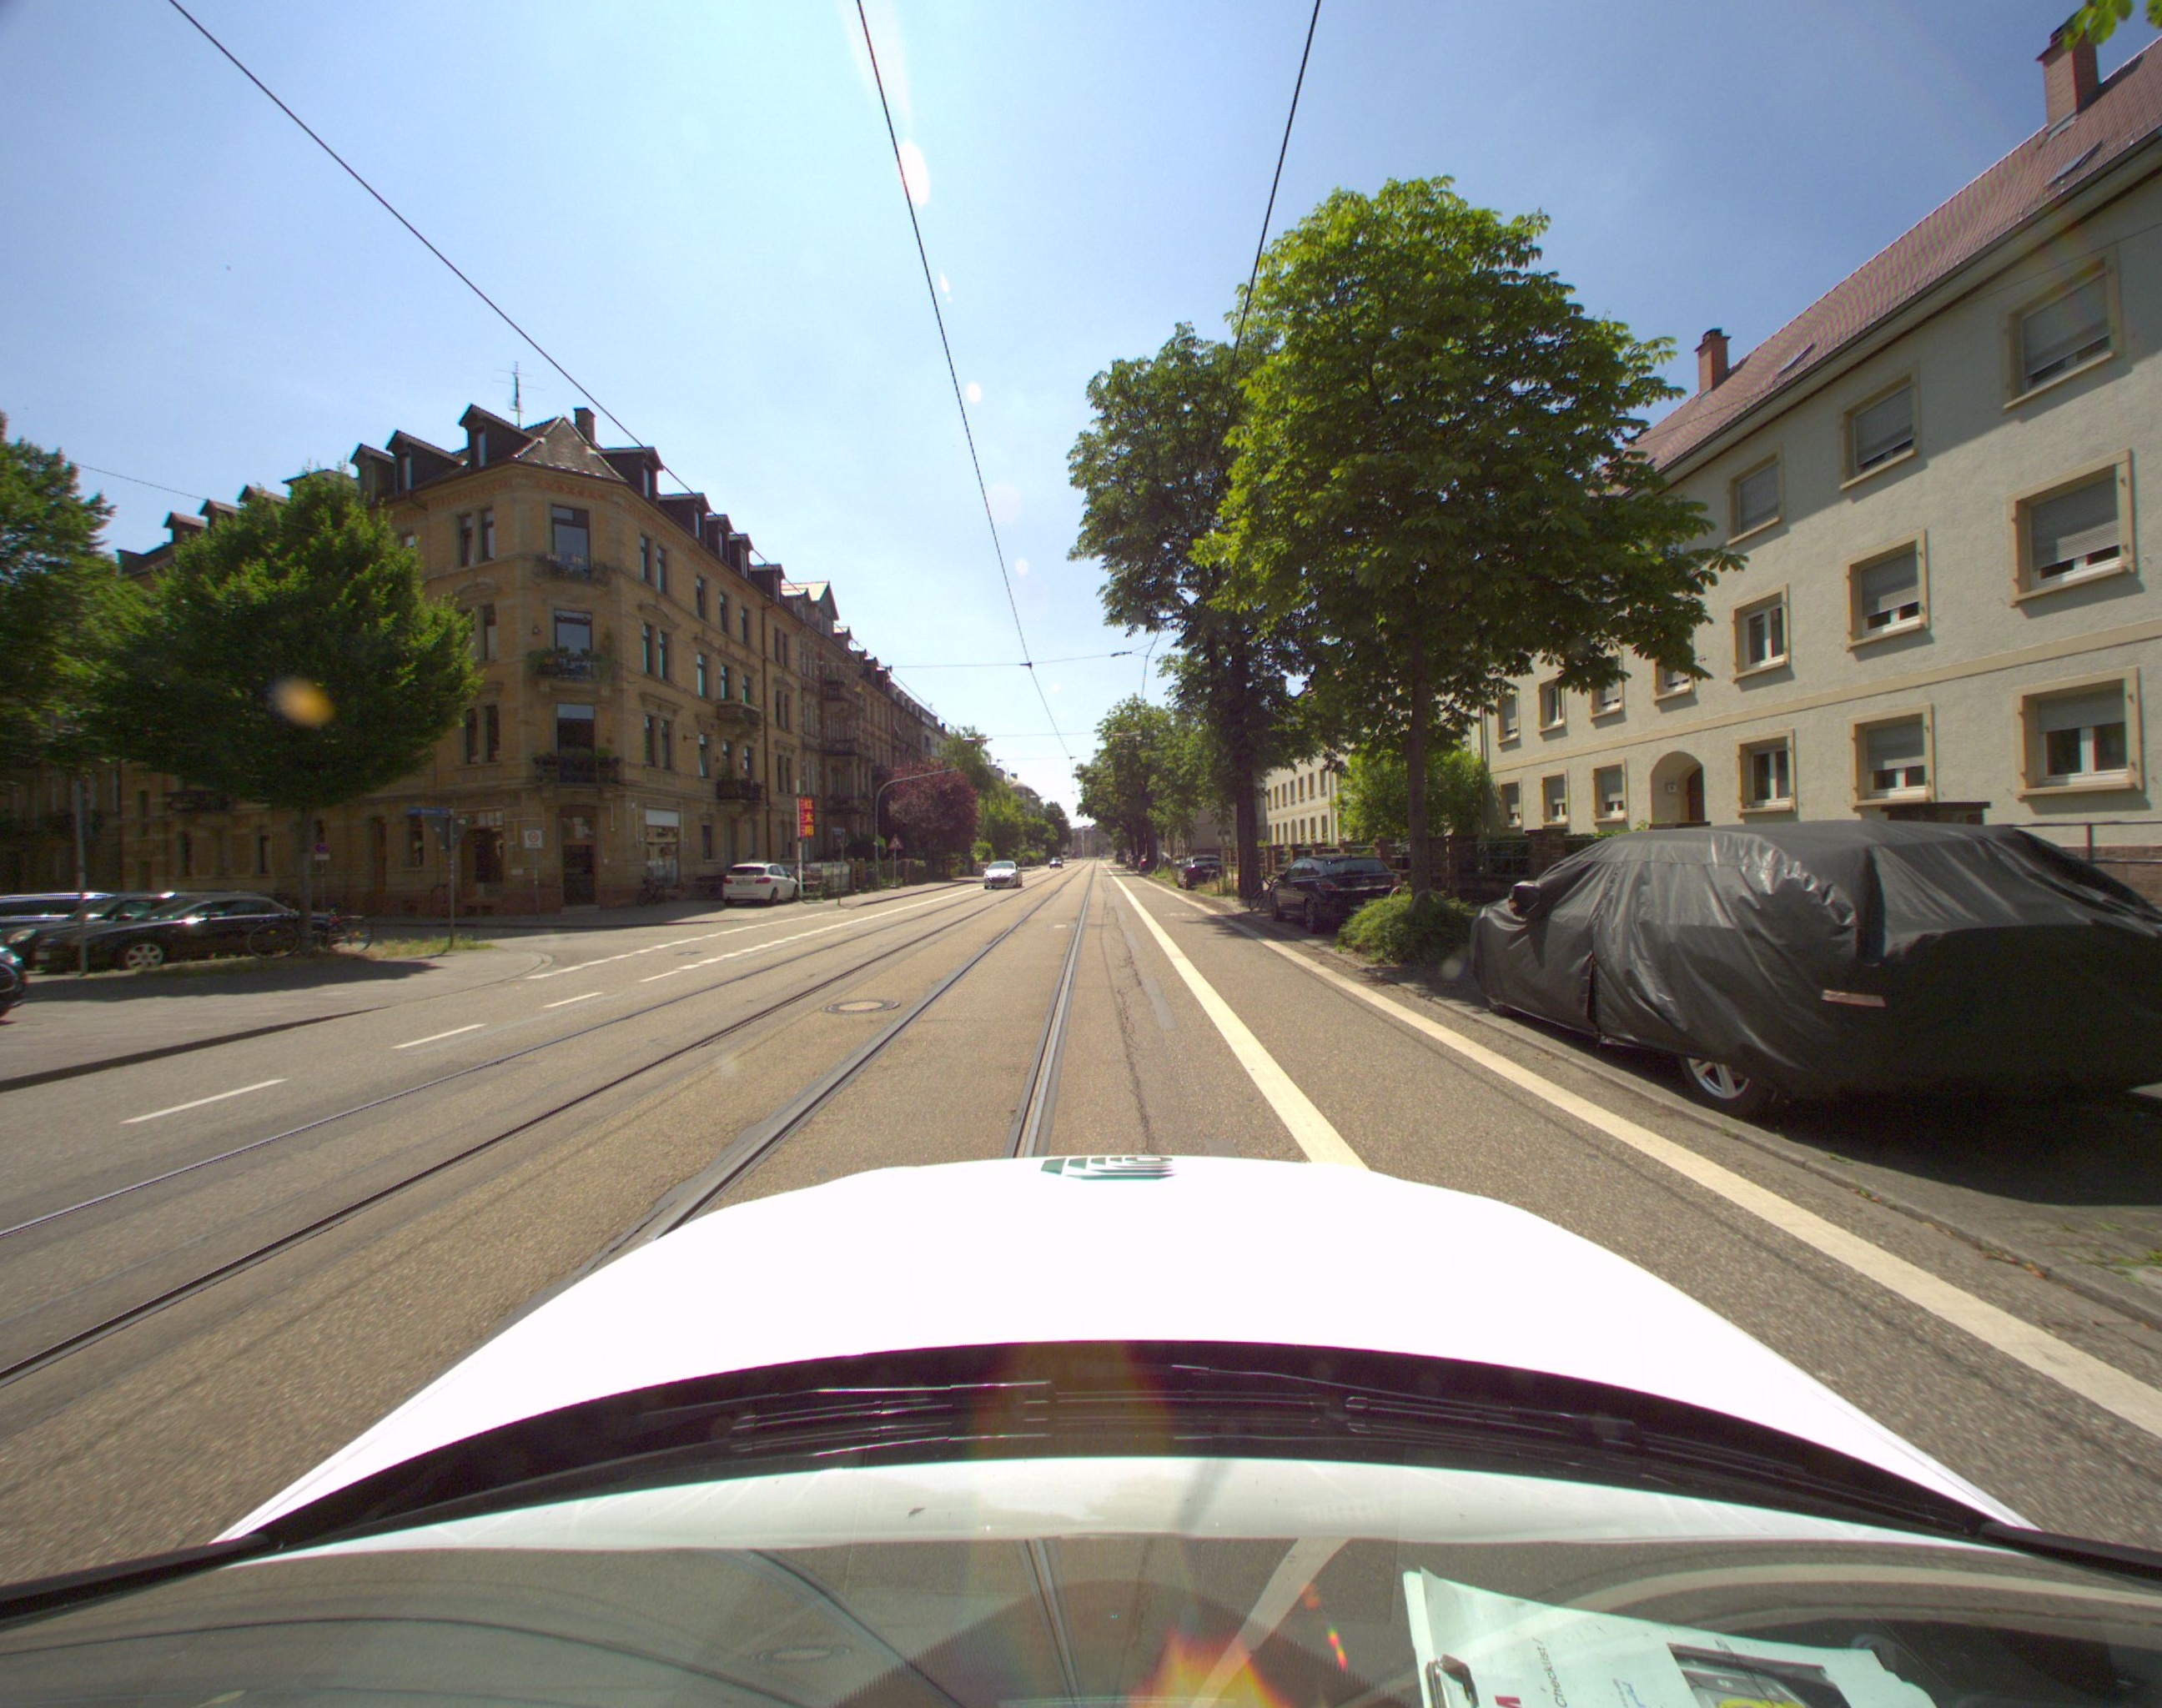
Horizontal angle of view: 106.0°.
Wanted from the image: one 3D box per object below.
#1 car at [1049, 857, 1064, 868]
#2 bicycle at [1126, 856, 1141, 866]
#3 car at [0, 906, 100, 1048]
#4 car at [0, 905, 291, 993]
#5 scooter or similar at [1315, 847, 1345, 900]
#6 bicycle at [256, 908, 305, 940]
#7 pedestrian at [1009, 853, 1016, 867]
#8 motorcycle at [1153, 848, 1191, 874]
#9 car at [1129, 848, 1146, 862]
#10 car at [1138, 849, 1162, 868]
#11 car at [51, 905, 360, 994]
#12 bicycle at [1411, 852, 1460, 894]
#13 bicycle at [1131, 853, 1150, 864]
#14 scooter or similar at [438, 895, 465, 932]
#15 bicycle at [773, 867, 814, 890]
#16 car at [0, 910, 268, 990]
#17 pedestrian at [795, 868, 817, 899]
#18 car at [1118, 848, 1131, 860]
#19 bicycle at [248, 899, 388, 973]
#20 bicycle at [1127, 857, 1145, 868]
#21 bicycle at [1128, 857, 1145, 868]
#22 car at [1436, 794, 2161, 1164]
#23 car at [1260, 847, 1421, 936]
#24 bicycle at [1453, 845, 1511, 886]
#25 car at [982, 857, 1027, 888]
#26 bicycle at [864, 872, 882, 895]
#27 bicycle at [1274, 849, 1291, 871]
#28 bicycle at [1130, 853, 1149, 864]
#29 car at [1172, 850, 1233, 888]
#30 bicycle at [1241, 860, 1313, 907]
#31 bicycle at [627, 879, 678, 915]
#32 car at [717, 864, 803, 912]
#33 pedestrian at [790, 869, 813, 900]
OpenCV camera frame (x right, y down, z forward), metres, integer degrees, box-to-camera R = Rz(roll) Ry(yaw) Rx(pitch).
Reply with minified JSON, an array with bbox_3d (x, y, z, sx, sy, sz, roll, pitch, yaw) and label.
[{"bbox_3d":[-3.340,1.160,111.620,1.680,1.454,3.749,-3,0,1],"label":"car"},{"bbox_3d":[6.497,0.903,100.726,1.810,1.113,0.493,-4,-1,0],"label":"bicycle"},{"bbox_3d":[-13.136,1.383,8.489,3.746,1.428,1.714,-2,-1,1],"label":"car"},{"bbox_3d":[-19.461,1.909,17.086,1.611,1.439,3.792,-3,-2,21],"label":"car"},{"bbox_3d":[6.507,0.496,21.253,0.375,1.212,1.256,-3,5,31],"label":"scooter or similar"},{"bbox_3d":[-32.716,2.848,33.272,2.041,1.227,0.644,-3,1,23],"label":"bicycle"},{"bbox_3d":[-8.295,0.724,98.652,0.749,1.629,0.832,-2,0,-5],"label":"pedestrian"},{"bbox_3d":[5.690,0.445,51.057,2.291,1.540,0.875,-2,0,44],"label":"motorcycle"},{"bbox_3d":[6.328,0.146,91.256,1.616,1.448,3.810,-5,0,1],"label":"car"},{"bbox_3d":[6.111,0.405,72.527,1.768,1.501,4.305,-4,0,0],"label":"car"},{"bbox_3d":[-16.972,1.792,16.046,1.611,1.339,3.792,-3,-2,21],"label":"car"},{"bbox_3d":[9.743,0.508,22.462,0.477,1.078,1.924,-3,0,1],"label":"bicycle"},{"bbox_3d":[6.354,0.480,86.896,1.952,1.063,0.600,-3,0,7],"label":"bicycle"},{"bbox_3d":[-22.489,2.121,29.085,1.265,1.273,0.500,-3,1,42],"label":"scooter or similar"},{"bbox_3d":[-13.472,1.160,38.179,1.697,1.003,0.474,-2,0,4],"label":"bicycle"},{"bbox_3d":[-21.662,2.073,18.042,1.725,1.365,4.850,-3,-2,21],"label":"car"},{"bbox_3d":[-12.553,1.340,37.190,0.708,1.298,0.710,-4,1,-3],"label":"pedestrian"},{"bbox_3d":[7.744,0.019,145.670,1.986,2.035,4.698,-3,1,1],"label":"car"},{"bbox_3d":[-14.364,1.514,15.395,0.495,1.228,1.861,-3,-2,29],"label":"bicycle"},{"bbox_3d":[6.508,0.995,96.264,2.002,1.113,0.640,-4,-1,3],"label":"bicycle"},{"bbox_3d":[6.494,0.994,95.599,1.955,1.113,0.599,-4,-1,3],"label":"bicycle"},{"bbox_3d":[4.618,0.542,6.197,1.939,1.650,4.885,-3,1,4],"label":"car"},{"bbox_3d":[4.952,0.627,16.205,1.690,1.418,4.355,-3,1,-1],"label":"car"},{"bbox_3d":[11.024,0.305,22.439,0.478,1.078,1.921,-3,0,-5],"label":"bicycle"},{"bbox_3d":[-3.960,0.941,42.659,1.750,1.424,4.001,-3,0,2],"label":"car"},{"bbox_3d":[-10.293,1.446,40.278,0.453,1.003,1.805,-2,0,-2],"label":"bicycle"},{"bbox_3d":[10.540,0.286,42.650,0.497,1.102,1.808,-3,0,4],"label":"bicycle"},{"bbox_3d":[6.246,0.507,86.569,1.879,1.052,0.539,-3,0,7],"label":"bicycle"},{"bbox_3d":[5.227,0.615,35.584,1.764,1.426,4.859,-3,1,-1],"label":"car"},{"bbox_3d":[4.990,0.749,20.783,1.651,1.078,0.605,-3,0,-7],"label":"bicycle"},{"bbox_3d":[-16.127,1.605,30.713,0.635,1.187,2.147,-3,0,4],"label":"bicycle"},{"bbox_3d":[-12.199,1.246,31.222,1.862,1.600,4.096,-1,0,-4],"label":"car"},{"bbox_3d":[-12.509,1.350,36.433,0.708,1.298,0.710,-4,1,-3],"label":"pedestrian"}]
